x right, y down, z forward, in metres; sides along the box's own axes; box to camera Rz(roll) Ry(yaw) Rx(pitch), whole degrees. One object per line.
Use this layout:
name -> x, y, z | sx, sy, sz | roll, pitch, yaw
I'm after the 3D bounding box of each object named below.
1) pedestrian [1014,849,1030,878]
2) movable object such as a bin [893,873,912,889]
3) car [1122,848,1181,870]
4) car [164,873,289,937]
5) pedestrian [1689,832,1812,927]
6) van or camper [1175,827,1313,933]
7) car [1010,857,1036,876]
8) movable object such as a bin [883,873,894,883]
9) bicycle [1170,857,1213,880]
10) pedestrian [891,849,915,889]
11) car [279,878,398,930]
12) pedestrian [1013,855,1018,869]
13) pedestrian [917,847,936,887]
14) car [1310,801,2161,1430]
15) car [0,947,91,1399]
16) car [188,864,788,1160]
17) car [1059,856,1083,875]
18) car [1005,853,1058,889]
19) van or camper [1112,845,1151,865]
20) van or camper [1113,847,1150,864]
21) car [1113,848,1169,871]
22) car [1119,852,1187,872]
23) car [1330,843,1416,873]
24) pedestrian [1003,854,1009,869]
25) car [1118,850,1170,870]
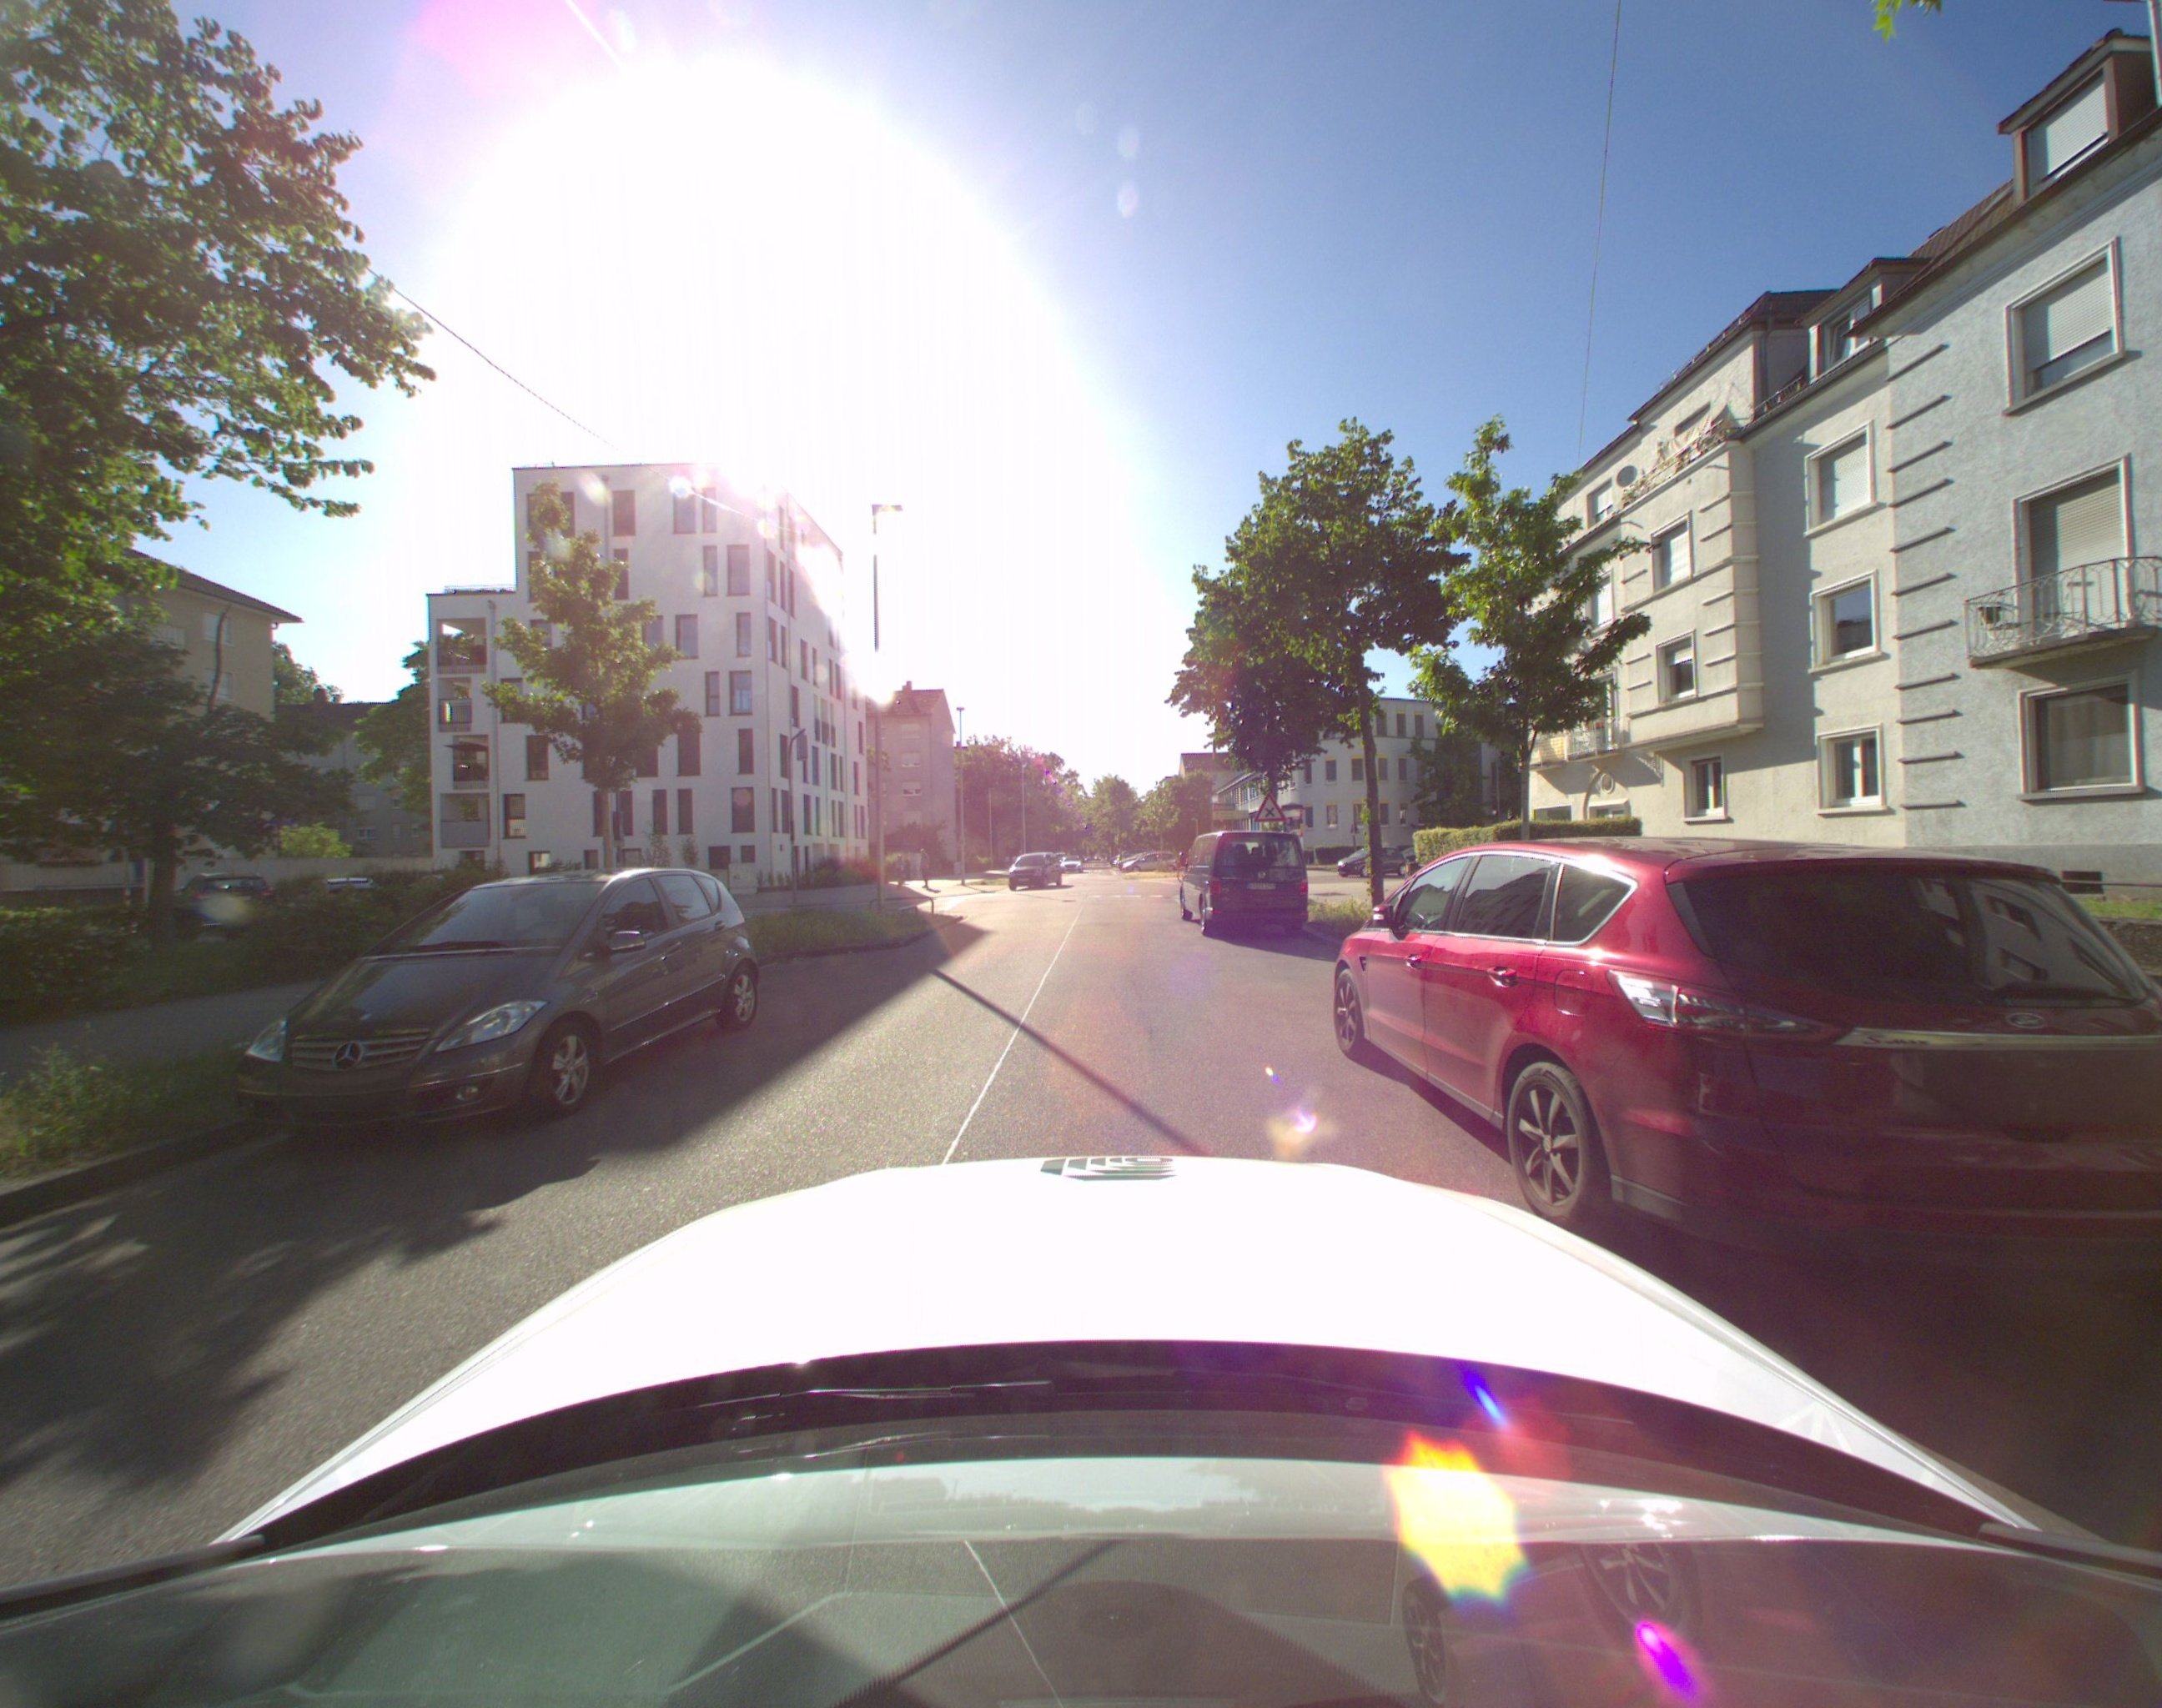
pedestrian -> -3.487, 0.563, 48.119 | 0.868, 1.714, 0.979 | -2, 0, -2
movable object such as a bin -> -8.286, 1.259, 37.823 | 0.269, 0.680, 0.854 | -2, 0, 34
car -> 5.076, 0.386, 59.064 | 4.077, 1.492, 1.727 | -1, -1, -2
car -> -26.406, 1.498, 25.141 | 3.948, 1.651, 2.013 | 0, 2, 34
pedestrian -> 9.517, 0.354, 11.609 | 1.078, 1.296, 0.819 | 0, -1, 0
van or camper -> 3.191, 0.489, 17.081 | 1.982, 1.863, 5.389 | 0, -1, 2
car -> -4.280, 0.927, 60.847 | 1.662, 1.420, 3.999 | 0, -1, 0
movable object such as a bin -> -10.597, 1.321, 44.860 | 0.269, 0.541, 0.690 | -1, -1, 22
bicycle -> 5.137, 0.676, 38.009 | 1.911, 1.012, 0.549 | -1, -1, -7
pedestrian -> -9.711, 0.809, 44.352 | 0.766, 2.120, 0.964 | 0, 1, 45
car -> -24.161, 1.587, 26.467 | 4.505, 1.431, 2.013 | -2, 0, 37
pedestrian -> -7.933, 0.950, 98.479 | 0.633, 1.664, 0.698 | -2, 0, -4
pedestrian -> -7.318, 0.624, 38.650 | 0.843, 1.885, 0.789 | 1, -1, -9
car -> 2.821, 0.696, 4.585 | 1.891, 1.613, 4.976 | -1, -1, 3
car -> -4.253, 0.992, 0.727 | 1.654, 1.395, 4.092 | 0, -1, 1
car -> -4.042, 0.903, 6.579 | 1.714, 1.562, 4.109 | -2, -1, 1
car -> -0.836, 0.958, 69.463 | 1.879, 1.504, 4.638 | 1, -1, 1
car -> -2.193, 0.744, 37.309 | 1.728, 1.530, 4.121 | 0, -1, 6
van or camper -> 5.278, 0.147, 84.889 | 3.973, 2.014, 2.000 | 0, -1, 1
van or camper -> 5.408, 0.164, 87.749 | 3.973, 1.772, 2.000 | 0, -1, 1
car -> 4.729, 0.442, 64.307 | 4.266, 1.765, 1.999 | 0, -1, -1
car -> 5.352, 0.613, 61.097 | 4.858, 1.274, 1.727 | -2, -1, -3
car -> 15.267, 0.216, 42.642 | 4.143, 1.504, 1.828 | 0, 0, -24
pedestrian -> -8.705, 0.858, 94.679 | 0.633, 1.664, 0.698 | -2, 0, -4
car -> 5.167, 0.504, 67.121 | 4.191, 1.596, 1.999 | 0, -1, -1
